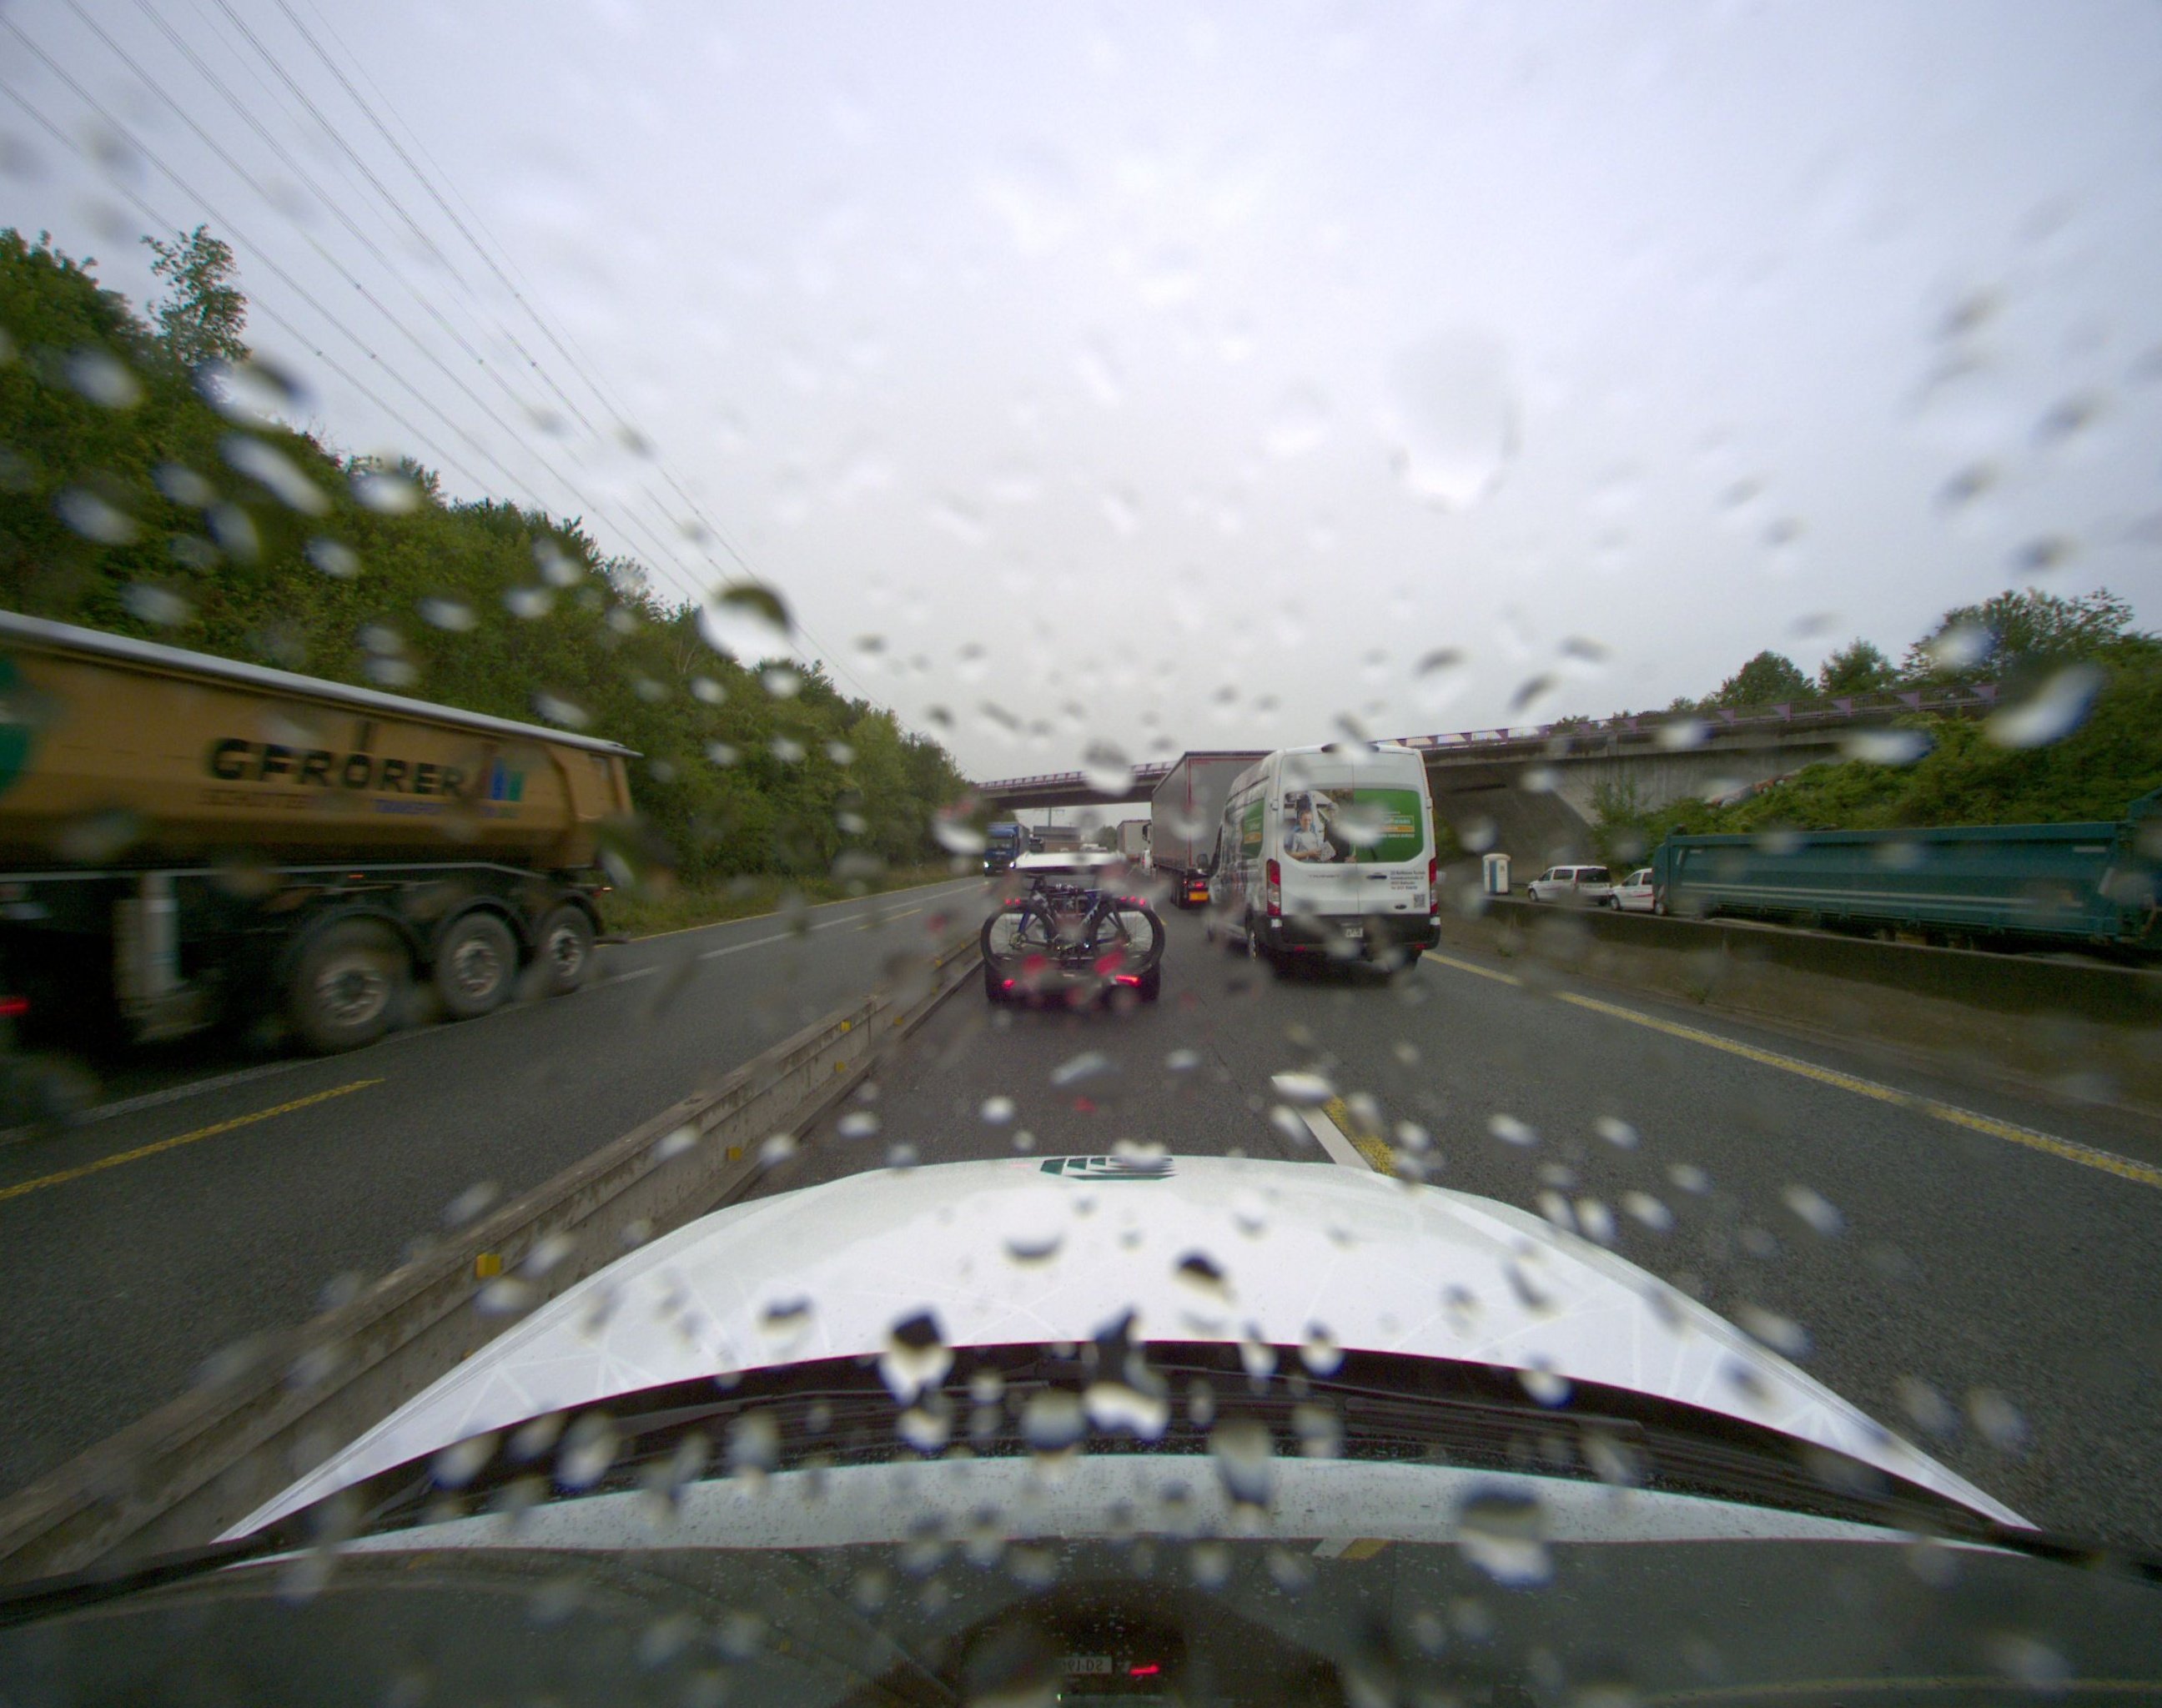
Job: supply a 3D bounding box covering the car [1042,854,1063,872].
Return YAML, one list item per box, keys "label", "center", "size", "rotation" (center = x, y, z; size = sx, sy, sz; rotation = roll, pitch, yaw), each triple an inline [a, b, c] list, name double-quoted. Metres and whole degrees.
- label: "car"
  center: [-2.693, 0.841, 77.032]
  size: [1.777, 1.610, 4.104]
  rotation: [-1, 0, 1]

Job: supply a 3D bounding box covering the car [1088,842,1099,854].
- label: "car"
  center: [2.595, -1.252, 173.924]
  size: [2.231, 2.307, 4.574]
  rotation: [-1, -1, 2]

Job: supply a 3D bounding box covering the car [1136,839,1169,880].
- label: "car"
  center: [3.944, 0.314, 45.417]
  size: [1.663, 2.180, 4.538]
  rotation: [-1, -1, 3]

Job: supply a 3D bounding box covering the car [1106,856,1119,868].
- label: "car"
  center: [3.904, 0.981, 101.295]
  size: [1.632, 1.497, 3.668]
  rotation: [-1, 0, 2]

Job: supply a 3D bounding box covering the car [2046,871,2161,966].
- label: "car"
  center: [22.227, 1.274, 15.647]
  size: [1.934, 1.829, 4.732]
  rotation: [-1, 0, 4]

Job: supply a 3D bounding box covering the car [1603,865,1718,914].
- label: "car"
  center: [22.334, 1.325, 31.573]
  size: [1.721, 1.745, 4.128]
  rotation: [-1, -1, 4]

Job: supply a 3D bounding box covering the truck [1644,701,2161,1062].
- label: "truck"
  center: [10.688, 0.245, 9.222]
  size: [2.511, 3.132, 9.121]
  rotation: [-1, 0, 2]

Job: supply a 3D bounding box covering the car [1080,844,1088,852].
- label: "car"
  center: [0.793, -1.492, 203.203]
  size: [1.986, 2.126, 4.529]
  rotation: [-1, -1, 2]

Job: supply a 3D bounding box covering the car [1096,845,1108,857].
- label: "car"
  center: [3.642, -0.457, 142.560]
  size: [1.987, 2.014, 3.999]
  rotation: [-1, -1, 0]

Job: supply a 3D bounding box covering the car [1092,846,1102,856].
- label: "car"
  center: [3.166, -0.563, 161.166]
  size: [1.986, 2.014, 4.002]
  rotation: [-1, -1, 2]

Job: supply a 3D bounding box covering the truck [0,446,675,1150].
- label: "truck"
  center: [-6.935, -0.279, 4.640]
  size: [2.671, 3.656, 12.317]
  rotation: [-1, 0, 2]

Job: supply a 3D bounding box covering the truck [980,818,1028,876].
- label: "truck"
  center: [-6.085, -0.447, 67.042]
  size: [2.758, 4.123, 16.914]
  rotation: [-1, 0, -2]

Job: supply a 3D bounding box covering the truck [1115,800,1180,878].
- label: "truck"
  center: [5.476, -1.047, 70.353]
  size: [4.723, 5.673, 20.391]
  rotation: [-1, 0, 3]

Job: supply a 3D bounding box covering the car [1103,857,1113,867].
- label: "car"
  center: [4.213, 1.251, 126.511]
  size: [1.632, 1.497, 3.668]
  rotation: [-1, 0, 2]

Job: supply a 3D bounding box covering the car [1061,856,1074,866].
- label: "car"
  center: [-1.979, 1.011, 118.501]
  size: [1.933, 1.494, 3.997]
  rotation: [-1, 0, -2]

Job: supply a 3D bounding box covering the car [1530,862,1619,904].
- label: "car"
  center: [22.686, 1.282, 37.634]
  size: [1.839, 1.809, 4.161]
  rotation: [-1, -1, 4]

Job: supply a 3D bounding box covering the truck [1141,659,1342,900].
- label: "truck"
  center: [4.557, -1.693, 29.545]
  size: [3.964, 5.673, 20.384]
  rotation: [-1, 0, 2]

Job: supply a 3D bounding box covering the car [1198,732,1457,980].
- label: "car"
  center: [3.114, 0.048, 11.907]
  size: [2.136, 2.676, 6.120]
  rotation: [-1, -1, 2]

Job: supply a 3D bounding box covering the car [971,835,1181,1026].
- label: "car"
  center: [0.077, 0.684, 9.373]
  size: [1.802, 1.637, 4.639]
  rotation: [-1, 0, 3]

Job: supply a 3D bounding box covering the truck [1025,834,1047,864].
- label: "truck"
  center: [-6.355, -0.643, 117.009]
  size: [2.455, 4.123, 10.088]
  rotation: [-1, 0, 1]
